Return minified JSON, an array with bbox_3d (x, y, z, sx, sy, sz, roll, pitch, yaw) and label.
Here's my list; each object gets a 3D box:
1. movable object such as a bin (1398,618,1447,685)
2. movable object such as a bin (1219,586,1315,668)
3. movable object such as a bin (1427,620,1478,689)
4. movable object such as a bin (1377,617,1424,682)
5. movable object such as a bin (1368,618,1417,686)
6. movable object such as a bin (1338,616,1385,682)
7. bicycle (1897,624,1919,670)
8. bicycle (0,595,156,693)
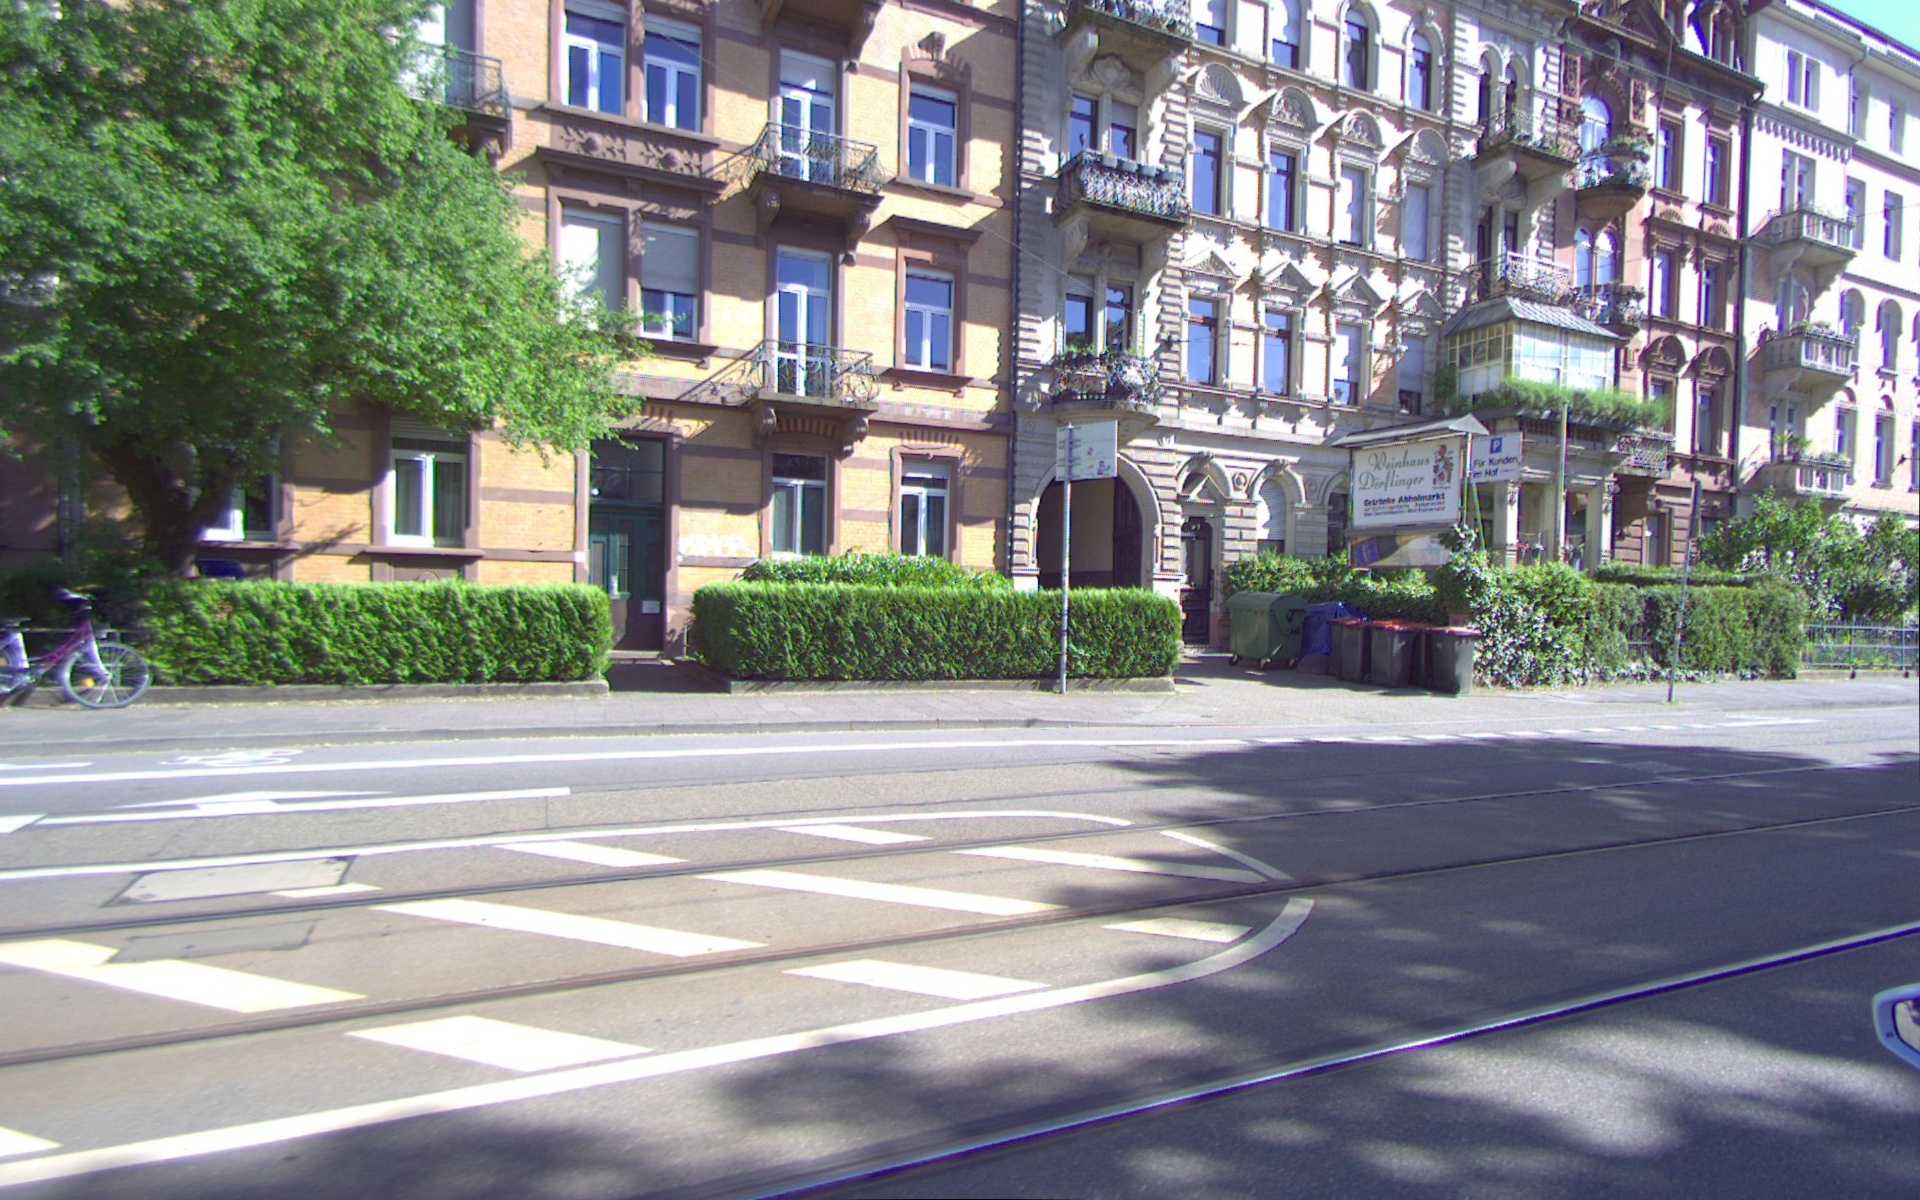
[{"bbox_3d":[7.960,0.887,17.309,0.533,1.100,0.478,1,3,-23],"label":"movable object such as a bin"},{"bbox_3d":[5.961,0.512,19.572,1.154,1.467,1.316,1,3,-23],"label":"movable object such as a bin"},{"bbox_3d":[8.246,0.909,16.811,0.533,1.100,0.478,1,3,-23],"label":"movable object such as a bin"},{"bbox_3d":[7.796,0.864,17.782,0.533,1.100,0.478,1,3,-23],"label":"movable object such as a bin"},{"bbox_3d":[7.384,0.881,17.152,0.533,1.100,0.478,1,3,-23],"label":"movable object such as a bin"},{"bbox_3d":[7.039,0.854,17.634,0.533,1.100,0.478,1,3,-23],"label":"movable object such as a bin"},{"bbox_3d":[23.477,1.120,24.263,1.743,1.047,0.561,0,4,-25],"label":"bicycle"},{"bbox_3d":[-9.250,0.437,10.013,1.913,0.938,0.341,2,3,-21],"label":"bicycle"}]
